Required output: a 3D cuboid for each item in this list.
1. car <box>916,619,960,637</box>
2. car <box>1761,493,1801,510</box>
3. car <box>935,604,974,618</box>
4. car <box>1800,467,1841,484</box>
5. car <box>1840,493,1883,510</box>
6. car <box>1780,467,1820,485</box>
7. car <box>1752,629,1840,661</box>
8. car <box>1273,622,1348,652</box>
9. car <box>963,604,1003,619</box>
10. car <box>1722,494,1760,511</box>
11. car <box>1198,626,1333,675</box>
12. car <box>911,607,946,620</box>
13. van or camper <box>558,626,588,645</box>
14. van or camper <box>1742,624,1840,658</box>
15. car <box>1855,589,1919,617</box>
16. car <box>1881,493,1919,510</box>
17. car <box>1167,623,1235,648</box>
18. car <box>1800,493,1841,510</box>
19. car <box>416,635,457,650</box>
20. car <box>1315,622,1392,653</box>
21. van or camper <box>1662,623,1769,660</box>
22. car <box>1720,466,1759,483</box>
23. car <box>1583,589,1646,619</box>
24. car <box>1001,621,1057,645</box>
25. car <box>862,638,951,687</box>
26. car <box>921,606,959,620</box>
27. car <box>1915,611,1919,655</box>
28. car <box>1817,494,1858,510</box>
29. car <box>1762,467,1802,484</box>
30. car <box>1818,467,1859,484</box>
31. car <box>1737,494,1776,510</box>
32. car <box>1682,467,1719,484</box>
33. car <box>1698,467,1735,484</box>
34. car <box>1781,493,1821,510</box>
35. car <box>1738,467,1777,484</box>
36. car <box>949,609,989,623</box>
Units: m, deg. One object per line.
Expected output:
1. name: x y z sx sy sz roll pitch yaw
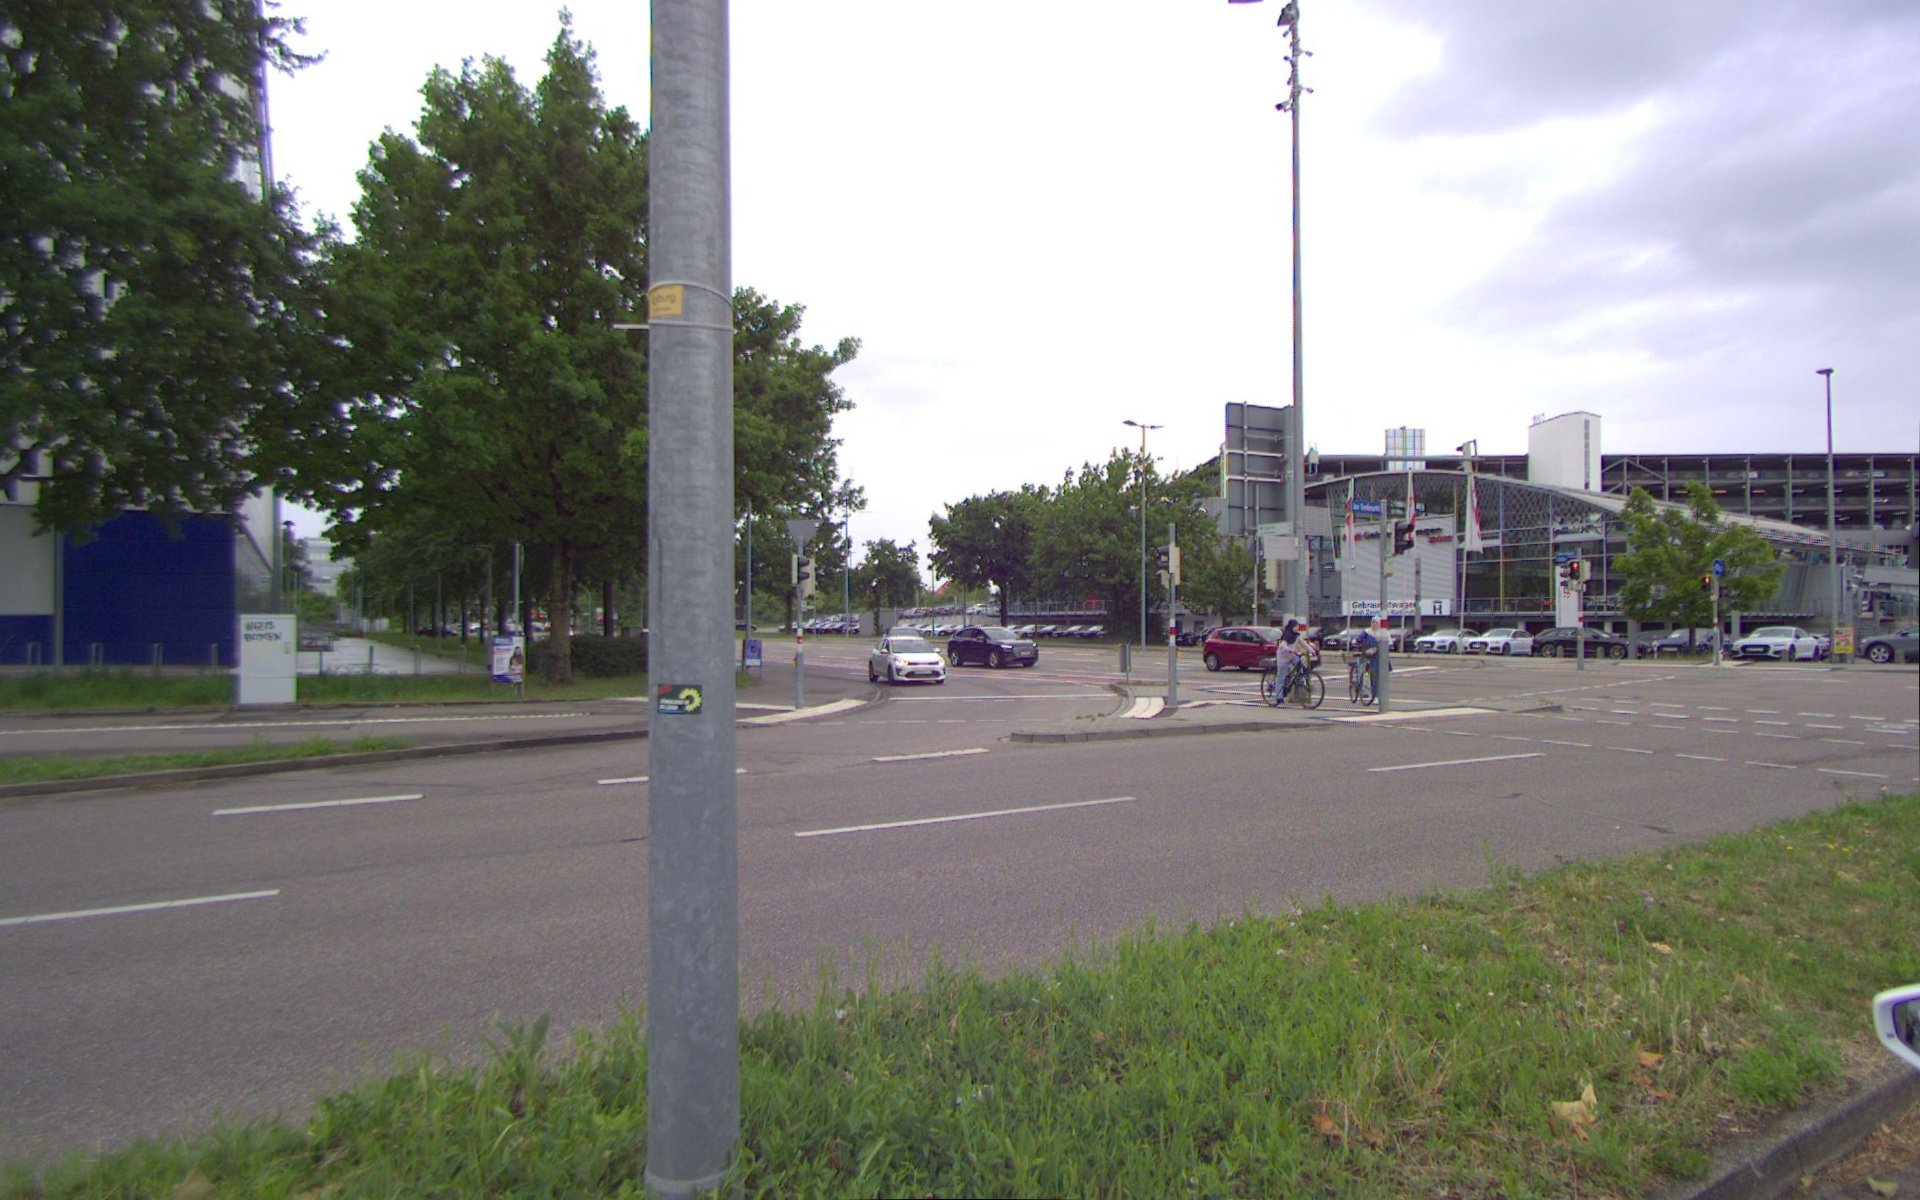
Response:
1. car: -1.980 2.546 91.037 3.639 1.506 1.696 2 0 -34
2. car: 106.457 -12.765 130.274 1.960 1.689 4.001 1 0 2
3. car: -0.612 1.355 120.554 4.306 1.516 1.951 2 0 -35
4. car: 111.520 -16.177 130.231 1.960 1.689 4.001 1 0 2
5. car: 116.535 -12.746 129.884 1.960 1.689 4.001 1 0 2
6. car: 108.885 -16.069 130.297 1.960 1.689 4.001 1 0 2
7. car: 53.313 2.859 64.117 1.742 1.862 3.960 2 0 -35
8. car: 20.095 2.144 57.533 4.335 1.489 1.877 4 -3 -34
9. car: 2.647 1.347 116.200 4.306 1.516 1.863 2 0 -35
10. car: 101.463 -12.659 130.508 1.960 1.689 4.001 1 0 2
11. car: 9.927 1.654 32.903 1.724 1.507 4.039 2 -3 -35
12. car: -3.942 1.689 124.559 4.058 1.516 1.713 2 0 -35
13. van or camper: -37.998 3.476 98.544 1.977 1.744 4.359 0 -3 -31
14. van or camper: 47.795 2.340 57.815 1.828 1.734 3.963 2 0 -33
15. car: 64.884 0.209 69.581 1.740 1.862 3.965 2 0 -32
16. car: 121.914 -12.696 129.865 1.960 1.689 4.001 1 0 2
17. car: 15.443 2.281 64.301 4.175 1.439 1.838 4 -3 -34
18. car: 111.418 -12.738 130.117 1.960 1.689 4.001 1 0 2
19. car: -60.243 4.871 115.632 3.962 1.639 1.785 2 0 -37
20. car: 21.613 2.084 55.118 4.148 1.505 1.891 4 -3 -34
21. van or camper: 38.887 2.107 51.777 1.979 1.700 3.963 2 0 -33
22. car: 101.340 -16.273 130.644 1.960 1.689 4.001 1 0 2
23. car: 39.389 0.268 60.429 3.960 1.684 1.807 2 0 -35
24. car: 5.567 2.628 80.738 4.168 1.505 1.940 7 -3 -34
25. car: -1.759 1.933 31.836 1.760 1.471 3.915 1 -2 -20
26. car: -2.445 1.597 122.419 4.306 1.516 1.863 2 0 -35
27. car: 46.295 1.436 45.034 1.981 2.040 4.742 2 -4 -35
28. car: 113.564 -12.700 130.015 1.960 1.689 4.001 1 0 2
29. car: 106.612 -16.138 130.304 1.960 1.689 4.001 1 0 2
30. car: 113.694 -16.105 130.018 1.960 1.689 4.001 1 0 2
31. car: 103.671 -12.728 130.765 1.960 1.689 4.001 1 0 2
32. car: 96.306 -16.168 130.679 1.960 1.689 4.001 1 0 2
33. car: 98.524 -16.253 130.851 1.960 1.689 4.001 1 0 2
34. car: 108.916 -12.757 130.163 1.960 1.689 4.001 1 0 2
35. car: 103.549 -16.207 130.458 1.960 1.689 4.001 1 0 2
36. car: 1.024 1.859 118.398 4.306 1.516 2.049 2 0 -35
